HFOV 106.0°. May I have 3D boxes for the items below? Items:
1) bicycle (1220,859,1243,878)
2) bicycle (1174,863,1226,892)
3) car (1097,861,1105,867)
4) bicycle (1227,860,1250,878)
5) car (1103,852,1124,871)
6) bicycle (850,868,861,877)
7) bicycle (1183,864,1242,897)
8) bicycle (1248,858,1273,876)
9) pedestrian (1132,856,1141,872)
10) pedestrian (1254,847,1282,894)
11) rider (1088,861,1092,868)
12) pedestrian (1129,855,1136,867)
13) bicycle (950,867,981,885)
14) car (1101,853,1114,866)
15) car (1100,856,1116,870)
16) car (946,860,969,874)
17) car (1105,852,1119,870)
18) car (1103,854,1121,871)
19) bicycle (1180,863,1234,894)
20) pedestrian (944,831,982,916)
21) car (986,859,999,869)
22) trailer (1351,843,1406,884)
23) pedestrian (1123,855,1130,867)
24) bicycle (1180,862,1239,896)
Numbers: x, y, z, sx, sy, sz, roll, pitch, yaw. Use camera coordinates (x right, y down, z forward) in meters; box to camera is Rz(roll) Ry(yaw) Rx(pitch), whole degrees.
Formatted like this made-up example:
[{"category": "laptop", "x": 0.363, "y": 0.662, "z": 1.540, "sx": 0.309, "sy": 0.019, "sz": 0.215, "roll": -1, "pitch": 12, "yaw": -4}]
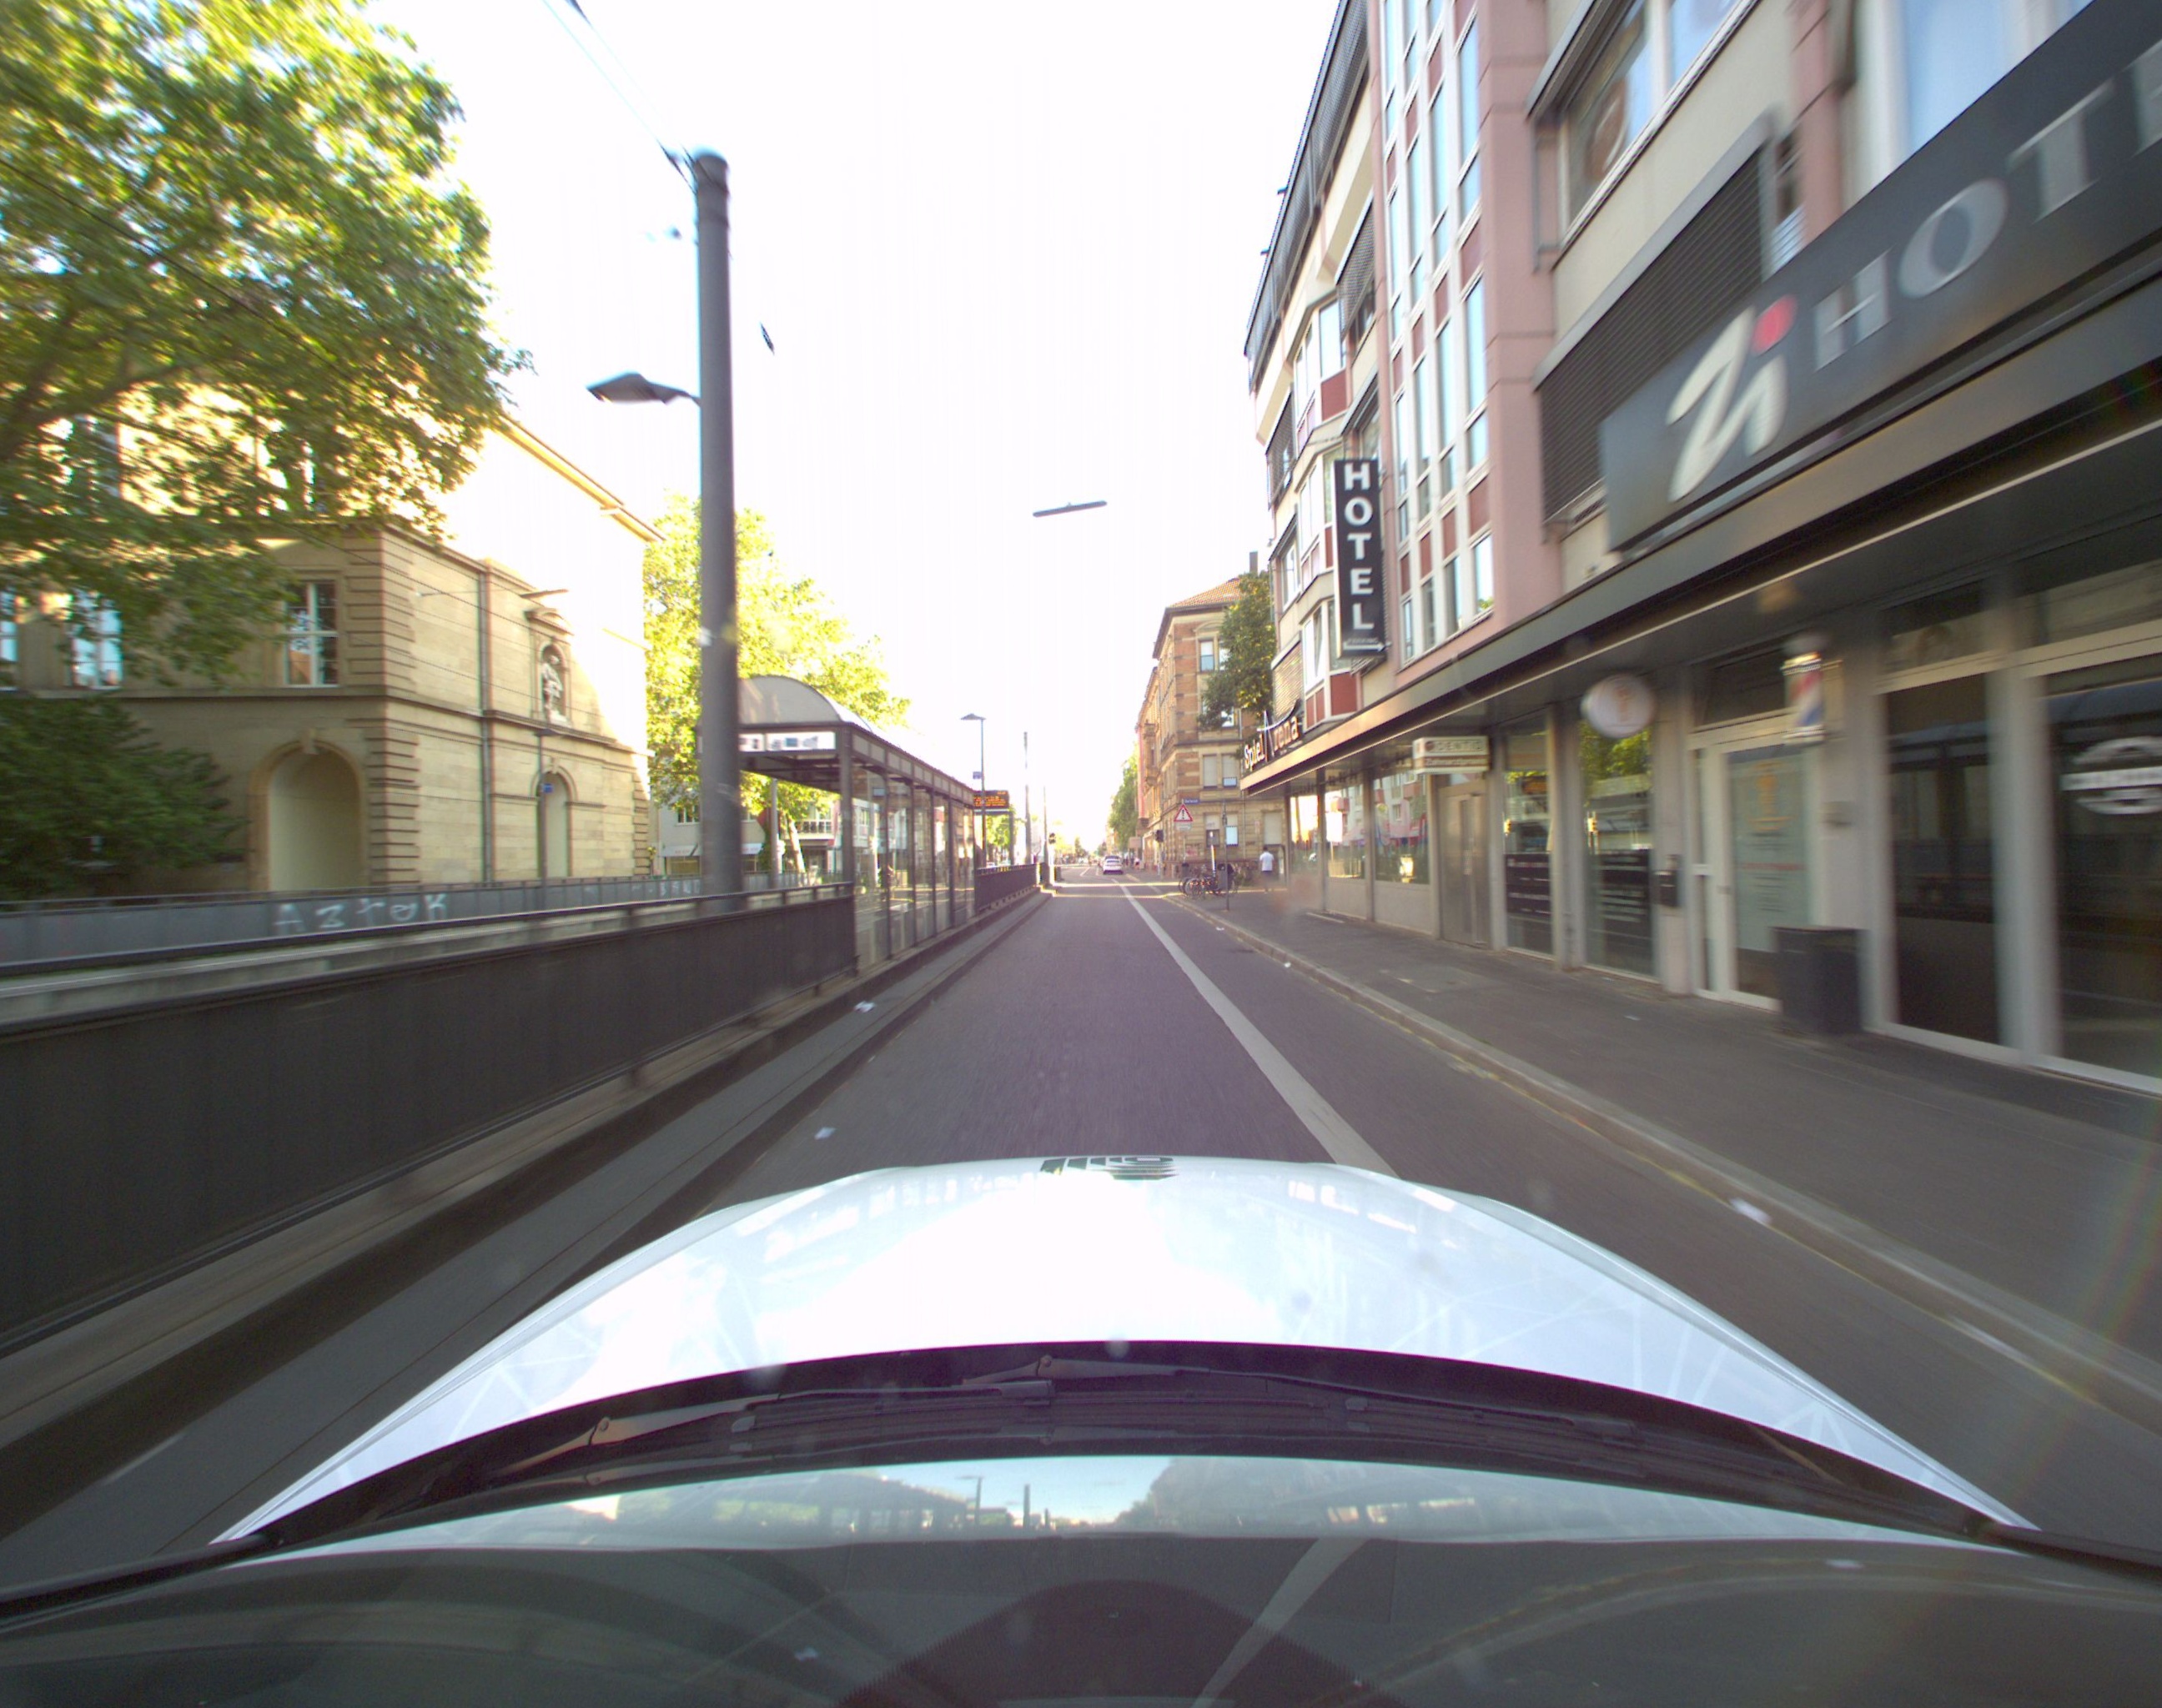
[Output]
[{"category": "bicycle", "x": 8.554, "y": 0.828, "z": 46.440, "sx": 0.452, "sy": 1.024, "sz": 1.896, "roll": -1, "pitch": 0, "yaw": -18}, {"category": "bicycle", "x": 4.539, "y": 0.905, "z": 31.168, "sx": 1.829, "sy": 1.054, "sz": 0.710, "roll": -1, "pitch": 0, "yaw": -3}, {"category": "car", "x": 5.218, "y": 2.604, "z": 214.705, "sx": 2.058, "sy": 1.389, "sz": 4.225, "roll": 1, "pitch": -1, "yaw": 1}, {"category": "bicycle", "x": 8.963, "y": 0.835, "z": 46.436, "sx": 0.418, "sy": 1.024, "sz": 1.896, "roll": -1, "pitch": 0, "yaw": -18}, {"category": "car", "x": 3.090, "y": 0.749, "z": 78.601, "sx": 1.959, "sy": 1.771, "sz": 4.877, "roll": 0, "pitch": -1, "yaw": 2}, {"category": "bicycle", "x": -18.360, "y": 1.514, "z": 66.343, "sx": 0.455, "sy": 0.658, "sz": 1.807, "roll": 1, "pitch": -1, "yaw": -4}, {"category": "bicycle", "x": 4.535, "y": 0.906, "z": 28.107, "sx": 1.908, "sy": 1.047, "sz": 0.680, "roll": -1, "pitch": 0, "yaw": -3}, {"category": "bicycle", "x": 10.241, "y": 0.737, "z": 46.512, "sx": 0.497, "sy": 1.024, "sz": 1.895, "roll": -1, "pitch": 0, "yaw": -20}, {"category": "pedestrian", "x": 5.731, "y": 1.047, "z": 83.447, "sx": 0.772, "sy": 1.567, "sz": 0.914, "roll": -5, "pitch": -1, "yaw": 4}, {"category": "pedestrian", "x": 6.875, "y": 0.581, "z": 29.951, "sx": 0.780, "sy": 1.665, "sz": 1.034, "roll": -2, "pitch": 1, "yaw": 2}, {"category": "rider", "x": 2.096, "y": 2.305, "z": 182.135, "sx": 0.880, "sy": 1.481, "sz": 0.713, "roll": 0, "pitch": -1, "yaw": 2}, {"category": "pedestrian", "x": 6.927, "y": 0.988, "z": 109.291, "sx": 0.773, "sy": 1.567, "sz": 0.914, "roll": -5, "pitch": -1, "yaw": 2}, {"category": "bicycle", "x": -7.353, "y": 1.394, "z": 51.793, "sx": 1.885, "sy": 1.078, "sz": 0.585, "roll": 1, "pitch": -1, "yaw": 3}, {"category": "car", "x": 4.474, "y": 0.936, "z": 136.365, "sx": 1.963, "sy": 2.014, "sz": 4.560, "roll": -3, "pitch": -1, "yaw": 2}, {"category": "car", "x": 3.521, "y": 1.205, "z": 105.942, "sx": 1.943, "sy": 1.788, "sz": 5.180, "roll": 0, "pitch": -1, "yaw": 0}, {"category": "car", "x": -15.485, "y": 1.694, "z": 102.446, "sx": 2.084, "sy": 1.713, "sz": 4.818, "roll": 0, "pitch": -1, "yaw": 0}, {"category": "car", "x": 3.885, "y": 0.913, "z": 101.331, "sx": 1.698, "sy": 2.120, "sz": 3.710, "roll": -1, "pitch": -1, "yaw": 4}, {"category": "car", "x": 3.435, "y": 0.938, "z": 90.508, "sx": 1.948, "sy": 1.869, "sz": 4.991, "roll": 0, "pitch": 0, "yaw": 2}, {"category": "bicycle", "x": 4.534, "y": 0.893, "z": 29.395, "sx": 1.829, "sy": 1.054, "sz": 0.717, "roll": -1, "pitch": 0, "yaw": -3}, {"category": "pedestrian", "x": -2.471, "y": 0.396, "z": 17.086, "sx": 0.620, "sy": 1.712, "sz": 0.850, "roll": -2, "pitch": 0, "yaw": 0}, {"category": "car", "x": -14.806, "y": 1.698, "z": 136.513, "sx": 1.864, "sy": 1.600, "sz": 4.251, "roll": -1, "pitch": 0, "yaw": -2}, {"category": "trailer", "x": 13.832, "y": 0.431, "z": 38.044, "sx": 1.952, "sy": 1.732, "sz": 3.948, "roll": -3, "pitch": -1, "yaw": 15}, {"category": "pedestrian", "x": 6.137, "y": 0.975, "z": 109.220, "sx": 0.773, "sy": 1.567, "sz": 0.914, "roll": -5, "pitch": -1, "yaw": 2}, {"category": "bicycle", "x": 4.526, "y": 0.868, "z": 28.764, "sx": 1.965, "sy": 1.105, "sz": 0.614, "roll": -2, "pitch": 0, "yaw": -3}]
